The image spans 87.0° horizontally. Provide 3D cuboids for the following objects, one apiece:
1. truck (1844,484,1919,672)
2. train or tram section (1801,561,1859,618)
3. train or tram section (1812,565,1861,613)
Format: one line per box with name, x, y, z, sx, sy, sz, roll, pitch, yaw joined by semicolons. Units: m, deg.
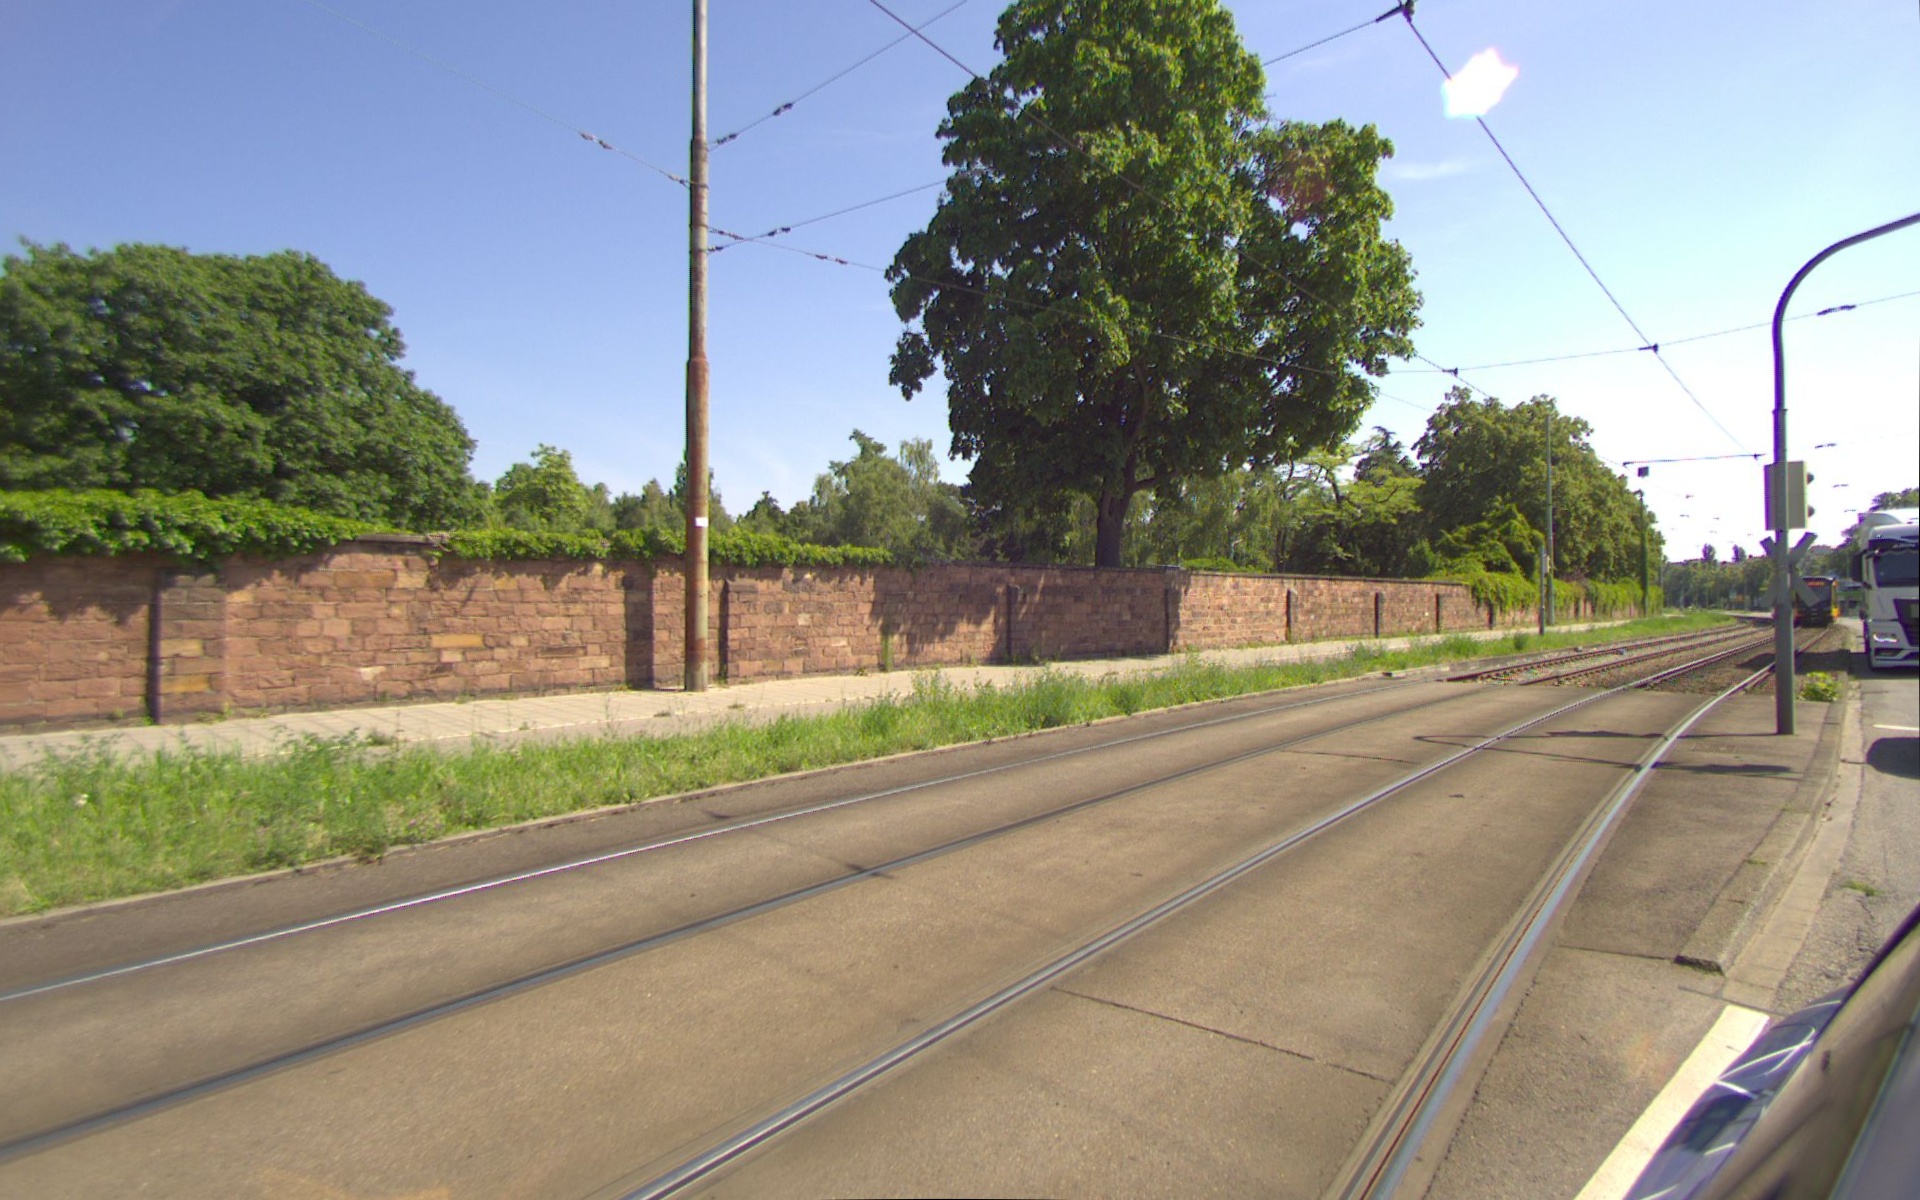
truck;26.154;-0.567;27.075;3.380;4.122;14.068;-3;-1;42
train or tram section;63.317;-0.767;73.496;2.668;3.699;15.071;-3;-1;42
train or tram section;74.641;-0.946;85.991;2.670;3.699;18.670;-3;-1;42
